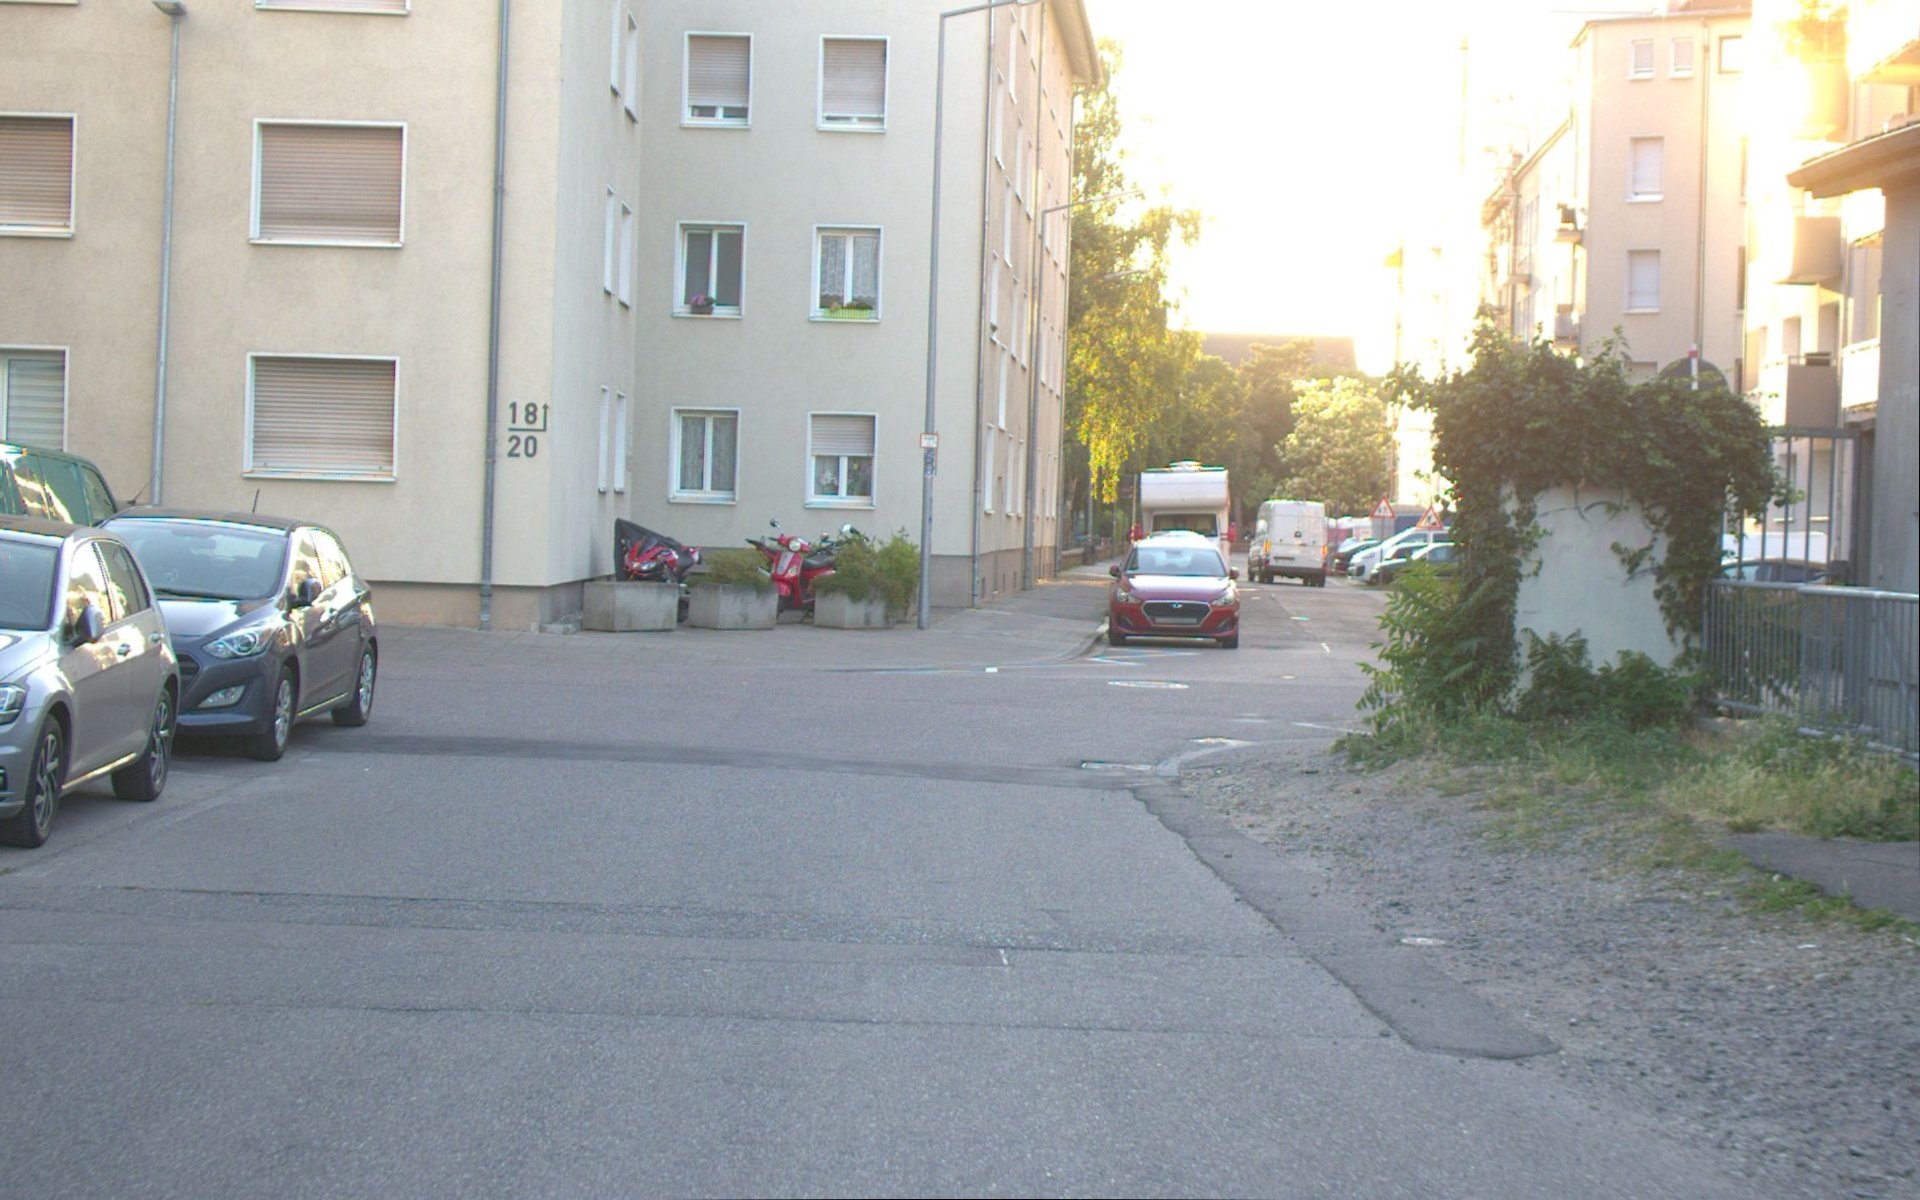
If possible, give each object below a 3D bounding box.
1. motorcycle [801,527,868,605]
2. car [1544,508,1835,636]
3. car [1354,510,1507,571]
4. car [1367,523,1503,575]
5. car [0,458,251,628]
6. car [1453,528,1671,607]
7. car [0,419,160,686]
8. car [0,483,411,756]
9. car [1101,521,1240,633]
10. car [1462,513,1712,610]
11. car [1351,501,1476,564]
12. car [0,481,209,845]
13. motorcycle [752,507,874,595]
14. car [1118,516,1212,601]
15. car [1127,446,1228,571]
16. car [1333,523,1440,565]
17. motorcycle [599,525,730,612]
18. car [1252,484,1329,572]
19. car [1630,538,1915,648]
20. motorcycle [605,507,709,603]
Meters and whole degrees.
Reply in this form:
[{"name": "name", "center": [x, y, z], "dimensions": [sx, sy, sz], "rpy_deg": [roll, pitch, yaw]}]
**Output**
[{"name": "motorcycle", "center": [-1.785, -0.501, 49.194], "dimensions": [0.682, 1.075, 2.034], "rpy_deg": [2, 1, 5]}, {"name": "car", "center": [11.576, -0.456, 54.783], "dimensions": [4.280, 1.854, 1.741], "rpy_deg": [2, 1, 4]}, {"name": "car", "center": [15.372, -1.955, 112.473], "dimensions": [4.814, 1.961, 1.739], "rpy_deg": [1, 1, 4]}, {"name": "car", "center": [14.526, -1.558, 105.177], "dimensions": [3.987, 1.525, 1.659], "rpy_deg": [1, 1, 4]}, {"name": "car", "center": [-9.879, -0.657, 37.221], "dimensions": [4.006, 1.612, 1.881], "rpy_deg": [2, 6, -1]}, {"name": "car", "center": [12.583, -0.688, 72.041], "dimensions": [4.324, 1.632, 1.818], "rpy_deg": [0, 1, 4]}, {"name": "car", "center": [-7.931, -0.468, 27.719], "dimensions": [1.798, 1.973, 4.690], "rpy_deg": [2, 2, 0]}, {"name": "car", "center": [-4.946, 0.057, 22.687], "dimensions": [1.780, 1.473, 4.331], "rpy_deg": [5, 2, 1]}, {"name": "car", "center": [2.949, -0.359, 48.781], "dimensions": [1.845, 1.468, 4.078], "rpy_deg": [2, 1, 2]}, {"name": "car", "center": [12.577, -0.774, 69.202], "dimensions": [4.722, 1.903, 2.059], "rpy_deg": [0, 1, 4]}, {"name": "car", "center": [15.616, -2.330, 118.523], "dimensions": [3.987, 2.007, 2.000], "rpy_deg": [2, 1, 0]}, {"name": "car", "center": [-4.981, 0.174, 16.825], "dimensions": [1.710, 1.473, 4.185], "rpy_deg": [5, 2, -2]}, {"name": "motorcycle", "center": [-1.988, -0.661, 46.787], "dimensions": [0.690, 1.156, 2.031], "rpy_deg": [3, 2, 28]}, {"name": "car", "center": [3.659, -0.762, 61.658], "dimensions": [1.616, 1.468, 3.505], "rpy_deg": [0, 1, 2]}, {"name": "car", "center": [5.988, -2.482, 93.950], "dimensions": [2.620, 3.257, 7.696], "rpy_deg": [0, 1, 4]}, {"name": "car", "center": [16.405, -2.159, 132.265], "dimensions": [3.987, 1.525, 1.659], "rpy_deg": [1, 1, 4]}, {"name": "motorcycle", "center": [-3.808, -0.412, 44.474], "dimensions": [0.724, 1.075, 2.078], "rpy_deg": [3, 2, 25]}, {"name": "car", "center": [10.380, -2.269, 108.180], "dimensions": [2.129, 2.708, 4.833], "rpy_deg": [0, 1, 2]}, {"name": "car", "center": [12.111, -0.118, 51.415], "dimensions": [3.873, 1.487, 1.741], "rpy_deg": [2, 1, 4]}, {"name": "motorcycle", "center": [-4.106, -0.615, 46.768], "dimensions": [0.724, 1.260, 2.079], "rpy_deg": [2, 1, 14]}]
